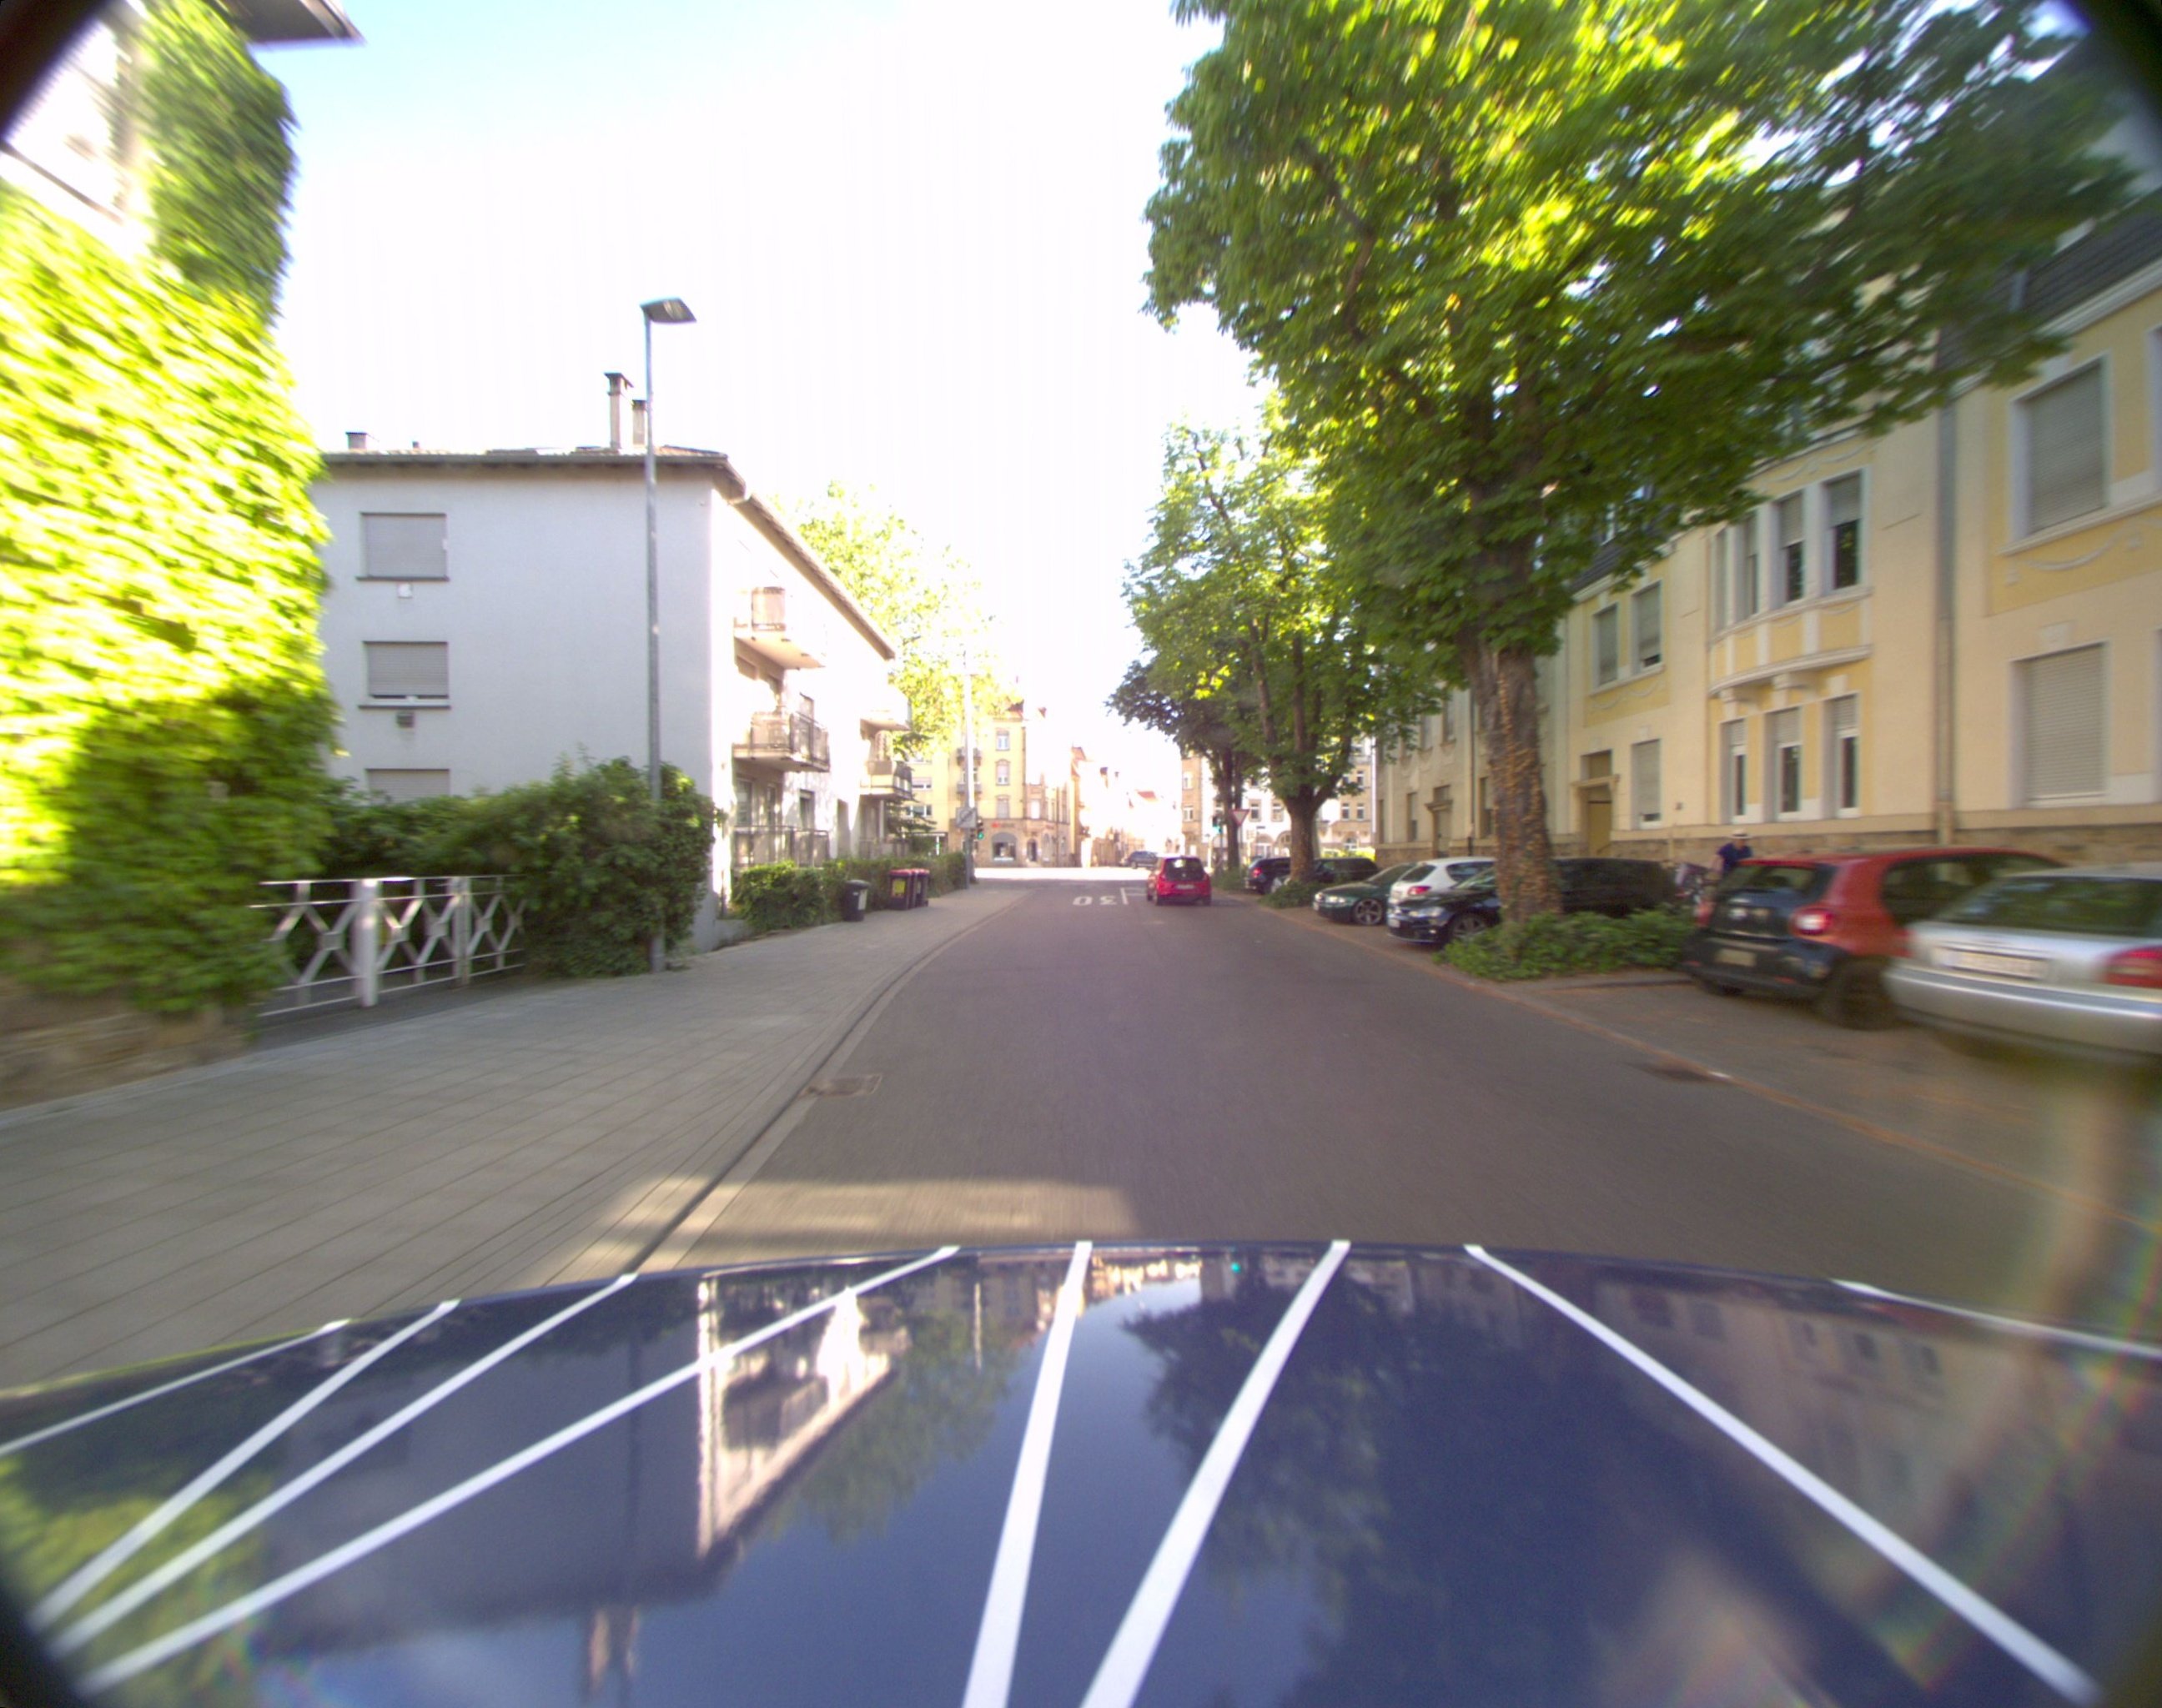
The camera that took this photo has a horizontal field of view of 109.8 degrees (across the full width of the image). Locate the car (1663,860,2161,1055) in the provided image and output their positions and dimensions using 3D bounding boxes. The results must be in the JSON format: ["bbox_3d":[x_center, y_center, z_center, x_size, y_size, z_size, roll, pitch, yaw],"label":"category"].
[{"bbox_3d":[8.008,0.832,6.923,3.996,1.499,1.722,0,1,4],"label":"car"}]

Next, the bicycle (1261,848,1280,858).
[{"bbox_3d":[20.135,-0.104,80.822,1.809,1.127,0.610,0,0,0],"label":"bicycle"}]

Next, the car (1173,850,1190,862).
[{"bbox_3d":[15.276,0.334,115.676,1.915,1.649,4.351,-4,0,15],"label":"car"}]

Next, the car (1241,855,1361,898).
[{"bbox_3d":[7.908,0.809,27.552,3.891,1.467,1.615,0,1,2],"label":"car"}]

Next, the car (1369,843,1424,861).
[{"bbox_3d":[27.458,-0.168,66.215,4.016,1.521,1.766,0,0,2],"label":"car"}]

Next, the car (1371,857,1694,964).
[{"bbox_3d":[6.909,0.838,11.979,3.996,1.474,1.785,-1,1,4],"label":"car"}]

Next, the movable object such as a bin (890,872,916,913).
[{"bbox_3d":[-4.742,1.029,20.282,0.484,1.038,0.618,3,1,0],"label":"movable object such as a bin"}]

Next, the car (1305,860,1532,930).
[{"bbox_3d":[7.266,0.864,16.665,4.222,1.341,1.703,-1,1,2],"label":"car"}]

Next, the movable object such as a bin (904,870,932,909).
[{"bbox_3d":[-4.676,1.004,21.828,0.598,1.038,0.707,3,1,0],"label":"movable object such as a bin"}]

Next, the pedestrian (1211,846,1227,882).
[{"bbox_3d":[6.486,0.471,35.580,0.695,1.672,0.681,0,1,13],"label":"pedestrian"}]

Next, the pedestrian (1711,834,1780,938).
[{"bbox_3d":[10.919,0.500,12.508,0.460,1.648,0.895,0,1,10],"label":"pedestrian"}]

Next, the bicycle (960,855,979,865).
[{"bbox_3d":[-11.912,0.638,81.361,1.951,0.970,0.516,0,3,1],"label":"bicycle"}]

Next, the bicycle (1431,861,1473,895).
[{"bbox_3d":[13.009,0.827,26.700,0.515,1.147,1.983,-3,0,3],"label":"bicycle"}]

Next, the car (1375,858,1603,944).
[{"bbox_3d":[7.644,0.866,14.505,3.441,1.444,1.703,-1,1,4],"label":"car"}]

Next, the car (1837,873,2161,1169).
[{"bbox_3d":[7.608,0.854,4.658,3.996,1.395,1.830,-2,1,4],"label":"car"}]

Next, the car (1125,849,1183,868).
[{"bbox_3d":[5.536,0.321,57.849,1.868,1.346,4.204,0,0,-42],"label":"car"}]

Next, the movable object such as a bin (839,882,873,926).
[{"bbox_3d":[-5.051,1.118,17.078,0.504,0.910,0.573,3,1,4],"label":"movable object such as a bin"}]

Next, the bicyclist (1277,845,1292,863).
[{"bbox_3d":[17.629,-0.001,65.889,1.074,1.533,0.687,0,1,1],"label":"bicyclist"}]

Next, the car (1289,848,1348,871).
[{"bbox_3d":[16.431,0.388,52.701,3.613,1.559,1.653,0,0,2],"label":"car"}]

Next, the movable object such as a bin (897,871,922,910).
[{"bbox_3d":[-4.747,1.004,21.018,0.484,1.038,0.656,3,1,0],"label":"movable object such as a bin"}]

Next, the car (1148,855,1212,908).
[{"bbox_3d":[3.040,0.792,23.959,1.645,1.499,3.702,1,1,2],"label":"car"}]

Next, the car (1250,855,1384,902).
[{"bbox_3d":[7.710,0.775,24.974,3.893,1.407,1.614,-1,1,-4],"label":"car"}]

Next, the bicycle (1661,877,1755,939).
[{"bbox_3d":[10.466,0.871,12.743,0.472,0.906,1.598,0,1,9],"label":"bicycle"}]
